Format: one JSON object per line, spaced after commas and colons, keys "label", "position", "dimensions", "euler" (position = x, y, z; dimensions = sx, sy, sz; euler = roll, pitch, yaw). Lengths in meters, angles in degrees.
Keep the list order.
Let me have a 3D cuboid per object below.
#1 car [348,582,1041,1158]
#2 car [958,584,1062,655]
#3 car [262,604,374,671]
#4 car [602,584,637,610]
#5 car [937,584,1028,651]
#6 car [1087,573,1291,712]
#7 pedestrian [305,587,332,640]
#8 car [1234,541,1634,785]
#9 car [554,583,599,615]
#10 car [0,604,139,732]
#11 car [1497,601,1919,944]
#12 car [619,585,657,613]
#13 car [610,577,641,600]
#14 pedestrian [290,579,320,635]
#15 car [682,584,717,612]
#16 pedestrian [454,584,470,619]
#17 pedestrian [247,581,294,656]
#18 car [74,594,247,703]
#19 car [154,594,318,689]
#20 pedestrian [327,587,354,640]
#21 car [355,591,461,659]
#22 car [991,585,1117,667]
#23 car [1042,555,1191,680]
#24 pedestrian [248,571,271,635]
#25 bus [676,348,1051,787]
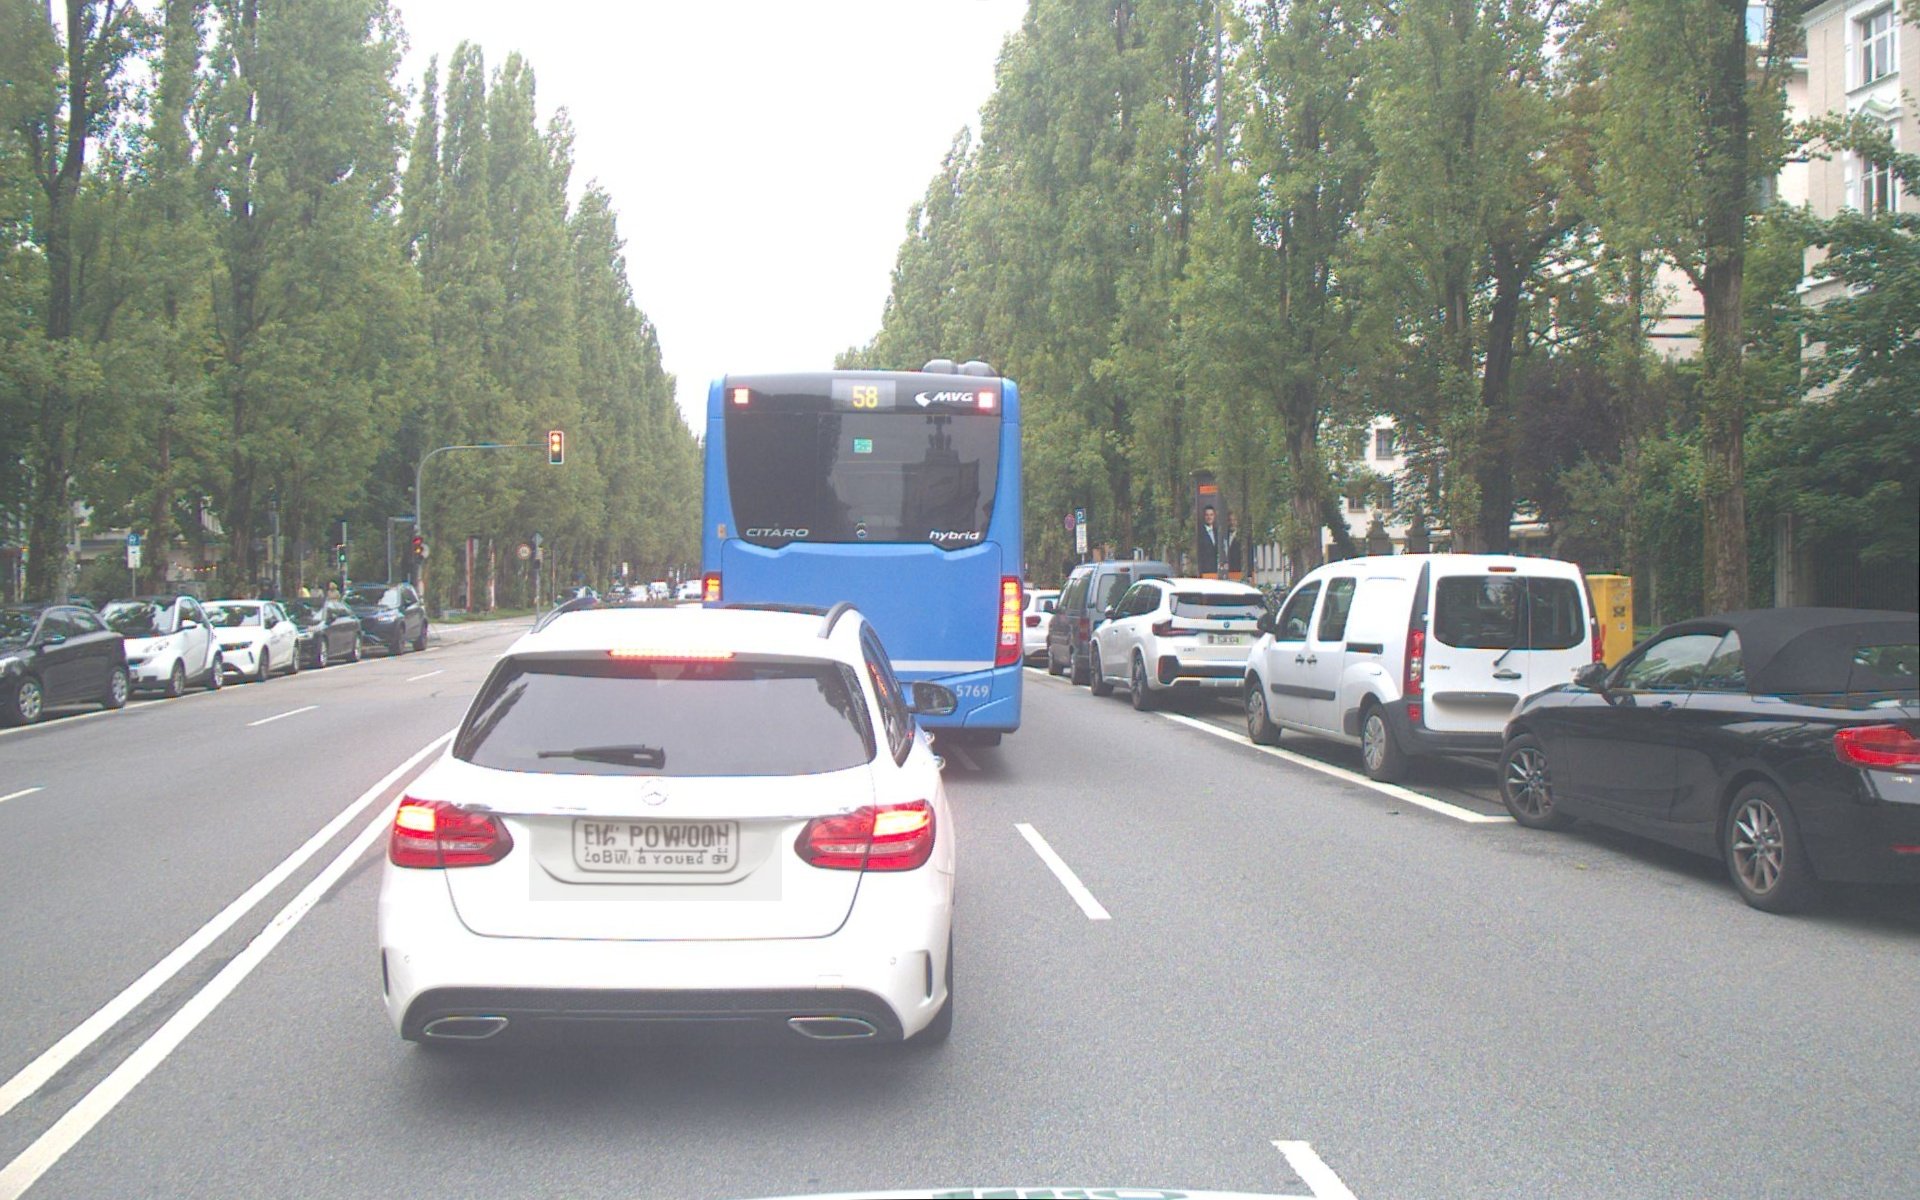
{"label": "car", "position": [-0.860, 0.679, 6.613], "dimensions": [1.790, 1.480, 4.578], "euler": [0, 0, -5]}
{"label": "car", "position": [1.105, 0.406, 38.181], "dimensions": [1.752, 1.518, 3.993], "euler": [-1, 1, -8]}
{"label": "car", "position": [-13.811, 0.776, 35.742], "dimensions": [1.264, 1.296, 3.844], "euler": [-1, 1, -6]}
{"label": "car", "position": [-20.875, -0.197, 101.393], "dimensions": [1.787, 1.512, 3.994], "euler": [-1, 1, -7]}
{"label": "car", "position": [0.536, 0.418, 43.305], "dimensions": [1.775, 1.646, 3.993], "euler": [-1, 1, -8]}
{"label": "car", "position": [2.869, 0.483, 21.598], "dimensions": [1.645, 1.624, 4.081], "euler": [1, 1, -7]}
{"label": "pedestrian", "position": [-25.499, 0.530, 65.725], "dimensions": [0.815, 2.049, 0.776], "euler": [-1, 1, -9]}
{"label": "car", "position": [3.924, 0.462, 14.520], "dimensions": [1.799, 1.804, 4.223], "euler": [1, 0, -8]}
{"label": "car", "position": [-19.045, -0.077, 82.249], "dimensions": [1.787, 1.512, 3.994], "euler": [-1, 1, -7]}
{"label": "car", "position": [-12.120, 0.847, 21.315], "dimensions": [1.511, 1.458, 3.863], "euler": [-4, 1, -8]}
{"label": "car", "position": [4.584, 0.723, 9.002], "dimensions": [1.712, 1.378, 3.995], "euler": [0, 1, -6]}
{"label": "car", "position": [-17.689, -0.076, 90.884], "dimensions": [1.787, 1.512, 3.994], "euler": [-1, 1, -7]}
{"label": "car", "position": [-22.519, -0.789, 111.439], "dimensions": [1.787, 1.512, 3.994], "euler": [-1, 1, -7]}
{"label": "pedestrian", "position": [-20.970, 0.207, 52.923], "dimensions": [0.689, 1.766, 0.808], "euler": [-1, 0, -8]}
{"label": "car", "position": [-15.865, -0.136, 100.862], "dimensions": [1.956, 1.647, 3.993], "euler": [-1, 1, -7]}
{"label": "pedestrian", "position": [-30.065, 0.095, 99.903], "dimensions": [0.815, 2.049, 0.776], "euler": [-1, 1, -10]}
{"label": "pedestrian", "position": [-17.038, 0.446, 40.871], "dimensions": [0.806, 1.795, 1.079], "euler": [-1, 1, -9]}
{"label": "car", "position": [-12.671, 0.718, 26.420], "dimensions": [1.383, 1.579, 3.439], "euler": [-1, 1, -6]}
{"label": "car", "position": [-13.133, 0.698, 30.252], "dimensions": [1.676, 1.575, 3.993], "euler": [-1, 1, -8]}
{"label": "pedestrian", "position": [-24.665, 0.527, 65.848], "dimensions": [0.815, 2.049, 0.776], "euler": [-1, 1, -9]}
{"label": "car", "position": [-13.777, 0.579, 41.445], "dimensions": [1.674, 1.579, 3.995], "euler": [-1, 1, -6]}
{"label": "car", "position": [1.806, 0.468, 33.094], "dimensions": [1.765, 1.501, 3.993], "euler": [-1, 1, -8]}
{"label": "car", "position": [2.451, 0.241, 26.833], "dimensions": [1.670, 1.868, 3.996], "euler": [1, 1, -5]}
{"label": "pedestrian", "position": [-22.812, 0.094, 53.853], "dimensions": [0.492, 2.049, 0.600], "euler": [-1, 0, -8]}
{"label": "bus", "position": [-0.742, -0.303, 16.882], "dimensions": [2.797, 3.269, 9.059], "euler": [0, 1, 0]}
